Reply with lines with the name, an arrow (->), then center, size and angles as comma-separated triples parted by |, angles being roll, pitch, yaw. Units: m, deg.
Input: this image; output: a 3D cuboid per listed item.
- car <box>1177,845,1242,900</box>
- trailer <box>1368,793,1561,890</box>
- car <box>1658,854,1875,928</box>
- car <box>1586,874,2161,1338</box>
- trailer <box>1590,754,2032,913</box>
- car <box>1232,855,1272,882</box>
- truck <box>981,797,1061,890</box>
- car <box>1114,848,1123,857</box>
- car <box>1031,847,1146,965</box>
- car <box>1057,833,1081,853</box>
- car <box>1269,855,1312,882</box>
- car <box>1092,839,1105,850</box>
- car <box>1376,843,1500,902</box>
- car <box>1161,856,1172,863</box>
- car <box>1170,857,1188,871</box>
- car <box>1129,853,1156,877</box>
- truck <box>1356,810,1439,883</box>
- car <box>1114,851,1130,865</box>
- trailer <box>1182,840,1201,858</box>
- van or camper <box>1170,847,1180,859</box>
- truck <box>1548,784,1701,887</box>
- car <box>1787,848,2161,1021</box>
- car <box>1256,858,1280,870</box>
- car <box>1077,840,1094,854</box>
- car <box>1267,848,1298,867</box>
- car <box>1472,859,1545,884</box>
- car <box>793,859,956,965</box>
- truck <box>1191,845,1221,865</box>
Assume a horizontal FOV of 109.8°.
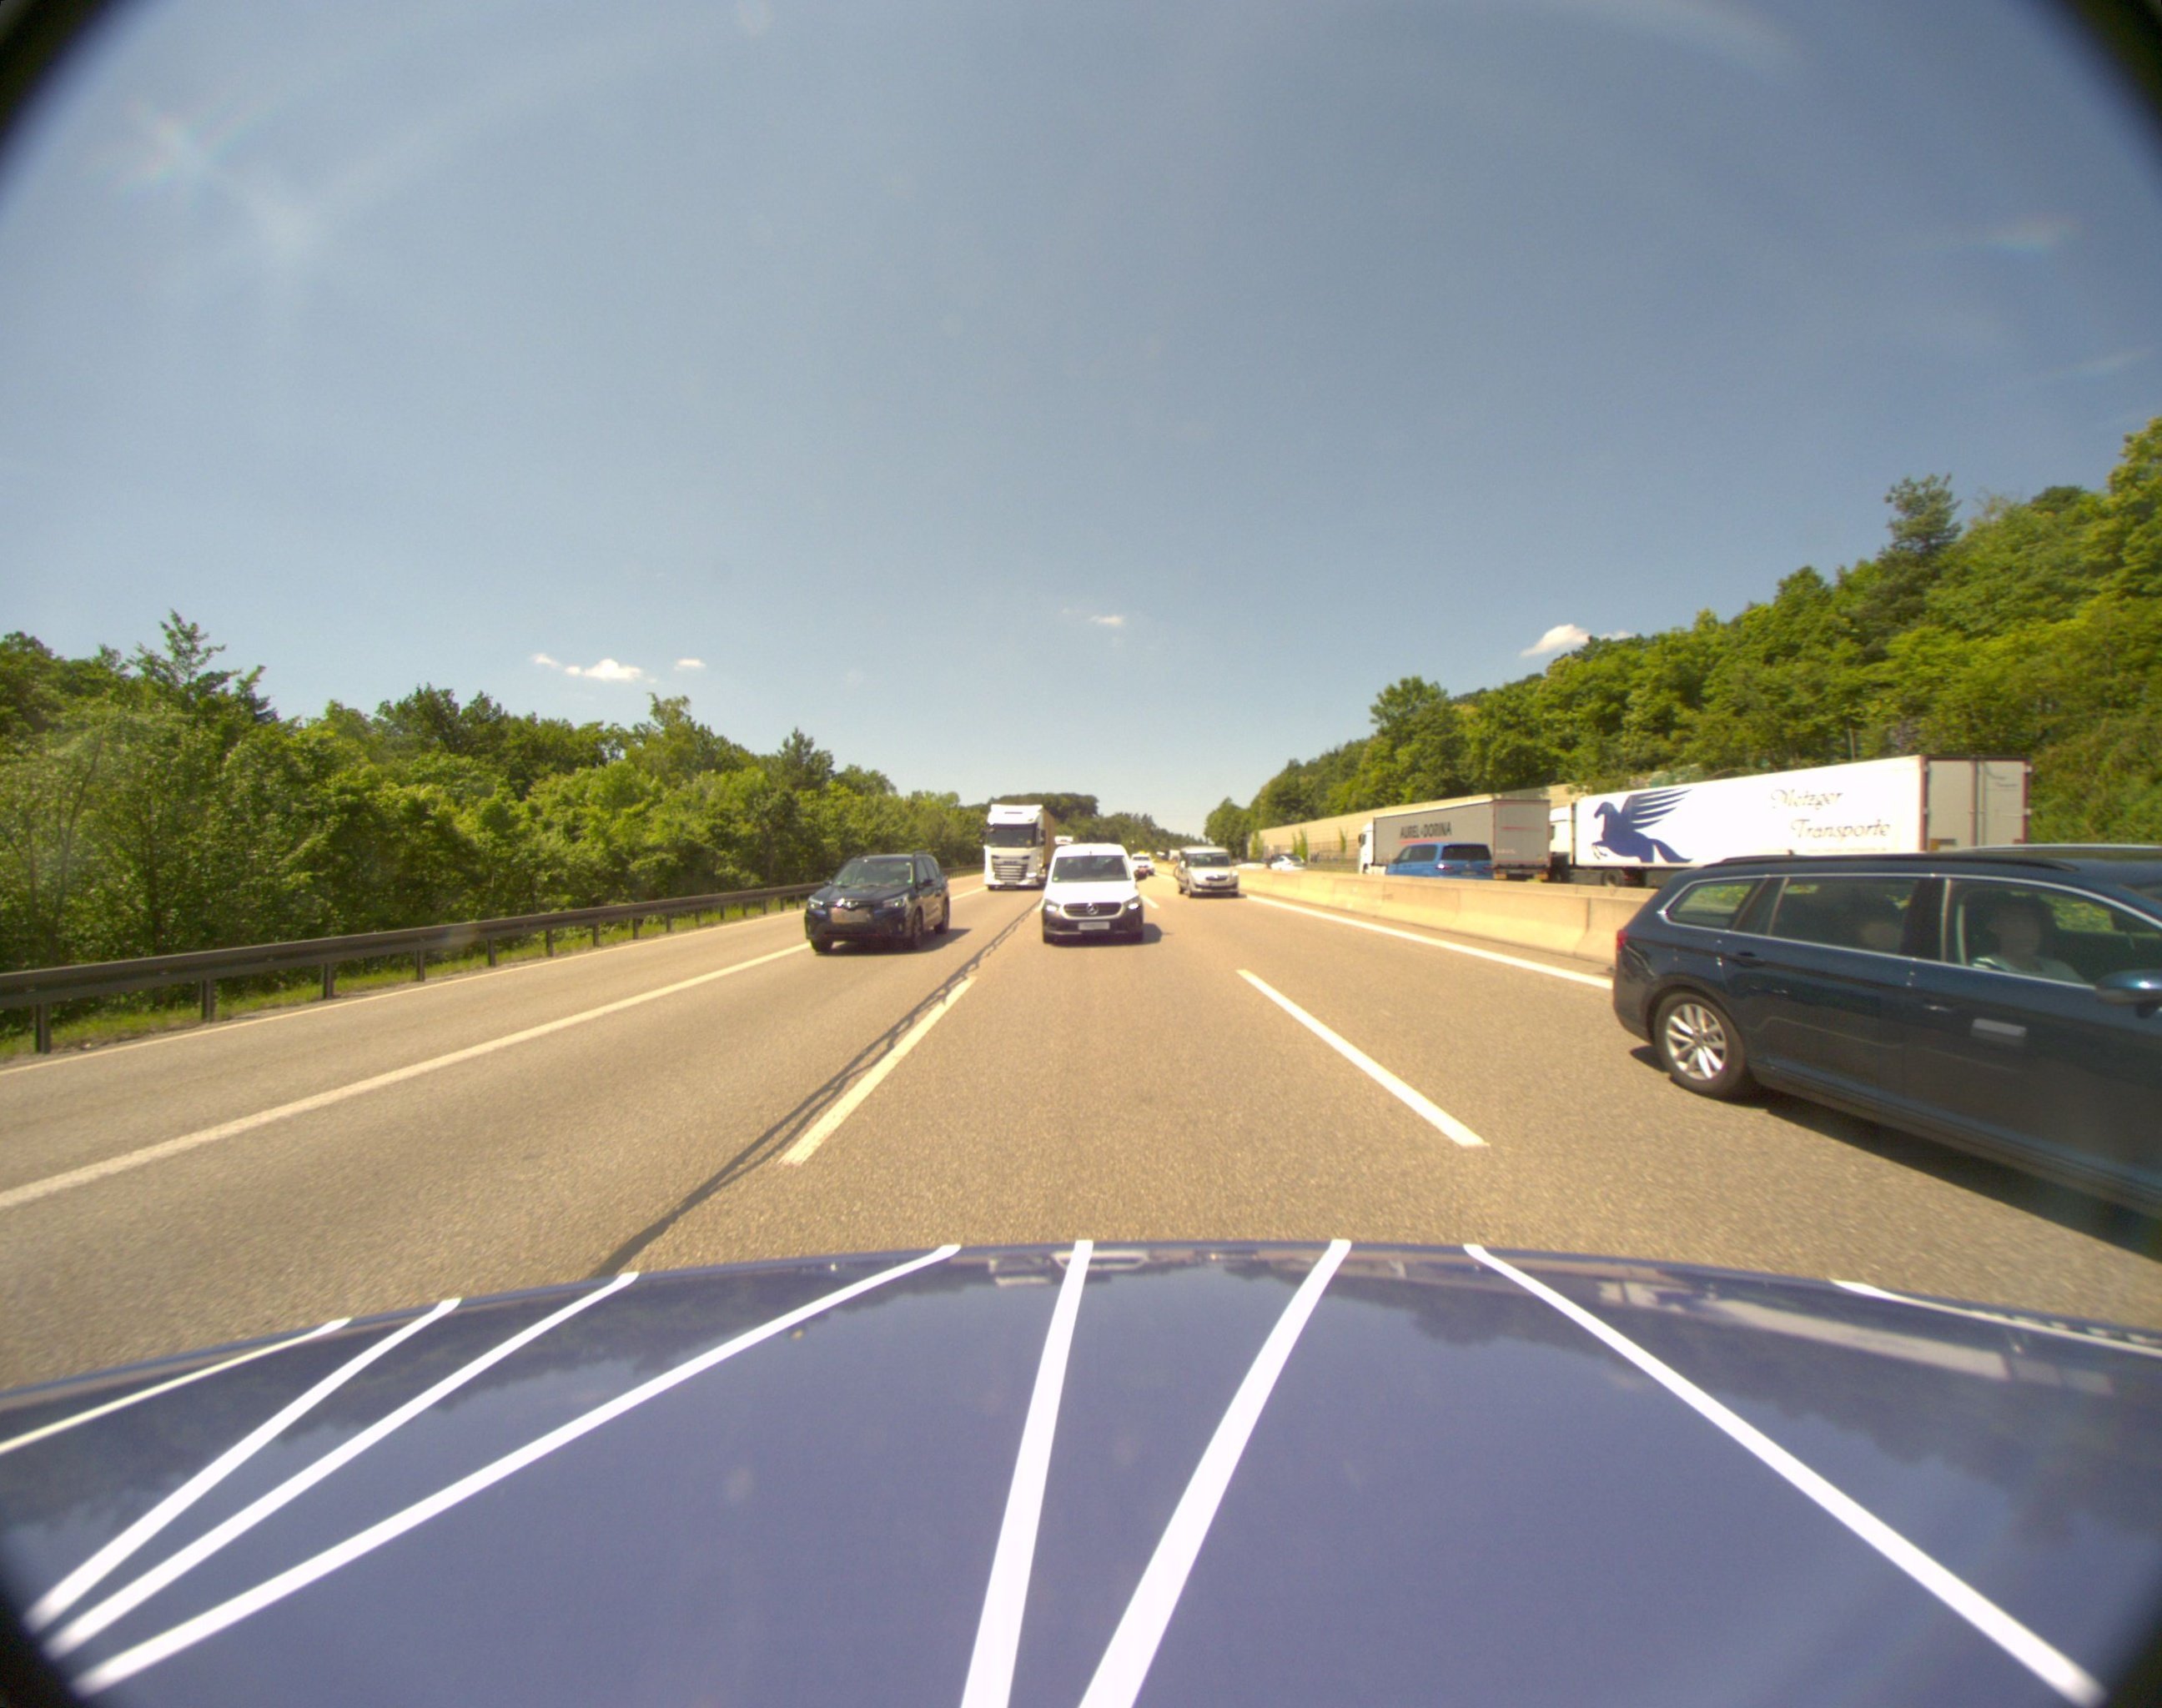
car -> 4.626, 0.630, 27.911 | 1.780, 1.833, 4.000 | 1, 0, 1
trailer -> 19.304, -0.600, 40.077 | 2.842, 4.141, 14.737 | 1, 1, 1
car -> 15.391, 0.755, 17.354 | 1.586, 1.436, 3.730 | 1, 1, 1
car -> 4.369, 0.855, 2.953 | 1.737, 1.419, 4.730 | 0, 0, 1
trailer -> 22.737, -0.591, 25.602 | 2.814, 4.023, 12.625 | 0, 1, 1
car -> 12.405, 1.015, 55.350 | 1.998, 1.783, 4.000 | 1, 1, 1
truck -> -2.937, -0.481, 42.386 | 2.789, 4.144, 16.268 | 0, 0, 1
car -> 8.703, -0.377, 174.925 | 1.998, 2.002, 4.001 | 0, 0, 3
car -> 0.198, 0.776, 13.707 | 1.729, 1.760, 4.313 | -1, 1, 2
car -> -1.575, -1.415, 99.983 | 2.721, 2.534, 5.942 | 1, 1, 4
car -> 15.960, 1.062, 58.084 | 1.998, 1.938, 4.748 | 1, 1, 0
car -> 4.297, -2.287, 186.025 | 2.721, 2.534, 5.942 | 1, 1, 4
car -> 12.060, 0.545, 26.118 | 1.916, 1.836, 5.035 | 1, 1, 1
car -> 15.276, 0.976, 135.705 | 1.618, 1.368, 4.270 | 0, 0, 1
car -> 13.192, 1.345, 102.775 | 1.952, 1.791, 4.693 | 1, 1, 1
car -> 4.733, 0.832, 58.989 | 1.998, 1.827, 4.001 | 0, 0, 4
truck -> 19.376, -0.449, 46.870 | 2.848, 4.189, 5.660 | -1, 0, 1
car -> 5.494, 0.544, 103.019 | 1.998, 1.783, 4.000 | -1, 0, 1
trailer -> 25.636, -1.233, 177.067 | 2.819, 3.885, 13.828 | 1, 1, 3
van or camper -> 23.111, -0.233, 186.880 | 2.274, 2.720, 6.807 | 1, 1, 4
truck -> 22.802, -0.760, 32.253 | 2.814, 4.024, 5.084 | 0, 1, 0
car -> 11.320, 0.766, 8.902 | 1.911, 1.630, 4.537 | -1, 0, 1
car -> 24.051, 1.250, 97.987 | 1.952, 1.427, 4.693 | 1, 1, 1
car -> 0.892, -1.324, 144.119 | 2.721, 2.534, 5.942 | 1, 1, 4
car -> 20.129, 0.335, 76.031 | 1.738, 1.799, 4.863 | 0, 0, -1
car -> 24.521, 0.965, 43.764 | 1.767, 1.362, 4.501 | 0, 0, 1
car -> -3.677, 0.942, 14.338 | 1.816, 1.658, 4.204 | -1, 0, 1
truck -> 17.740, 0.044, 108.122 | 2.534, 2.673, 11.627 | 1, 1, 1
